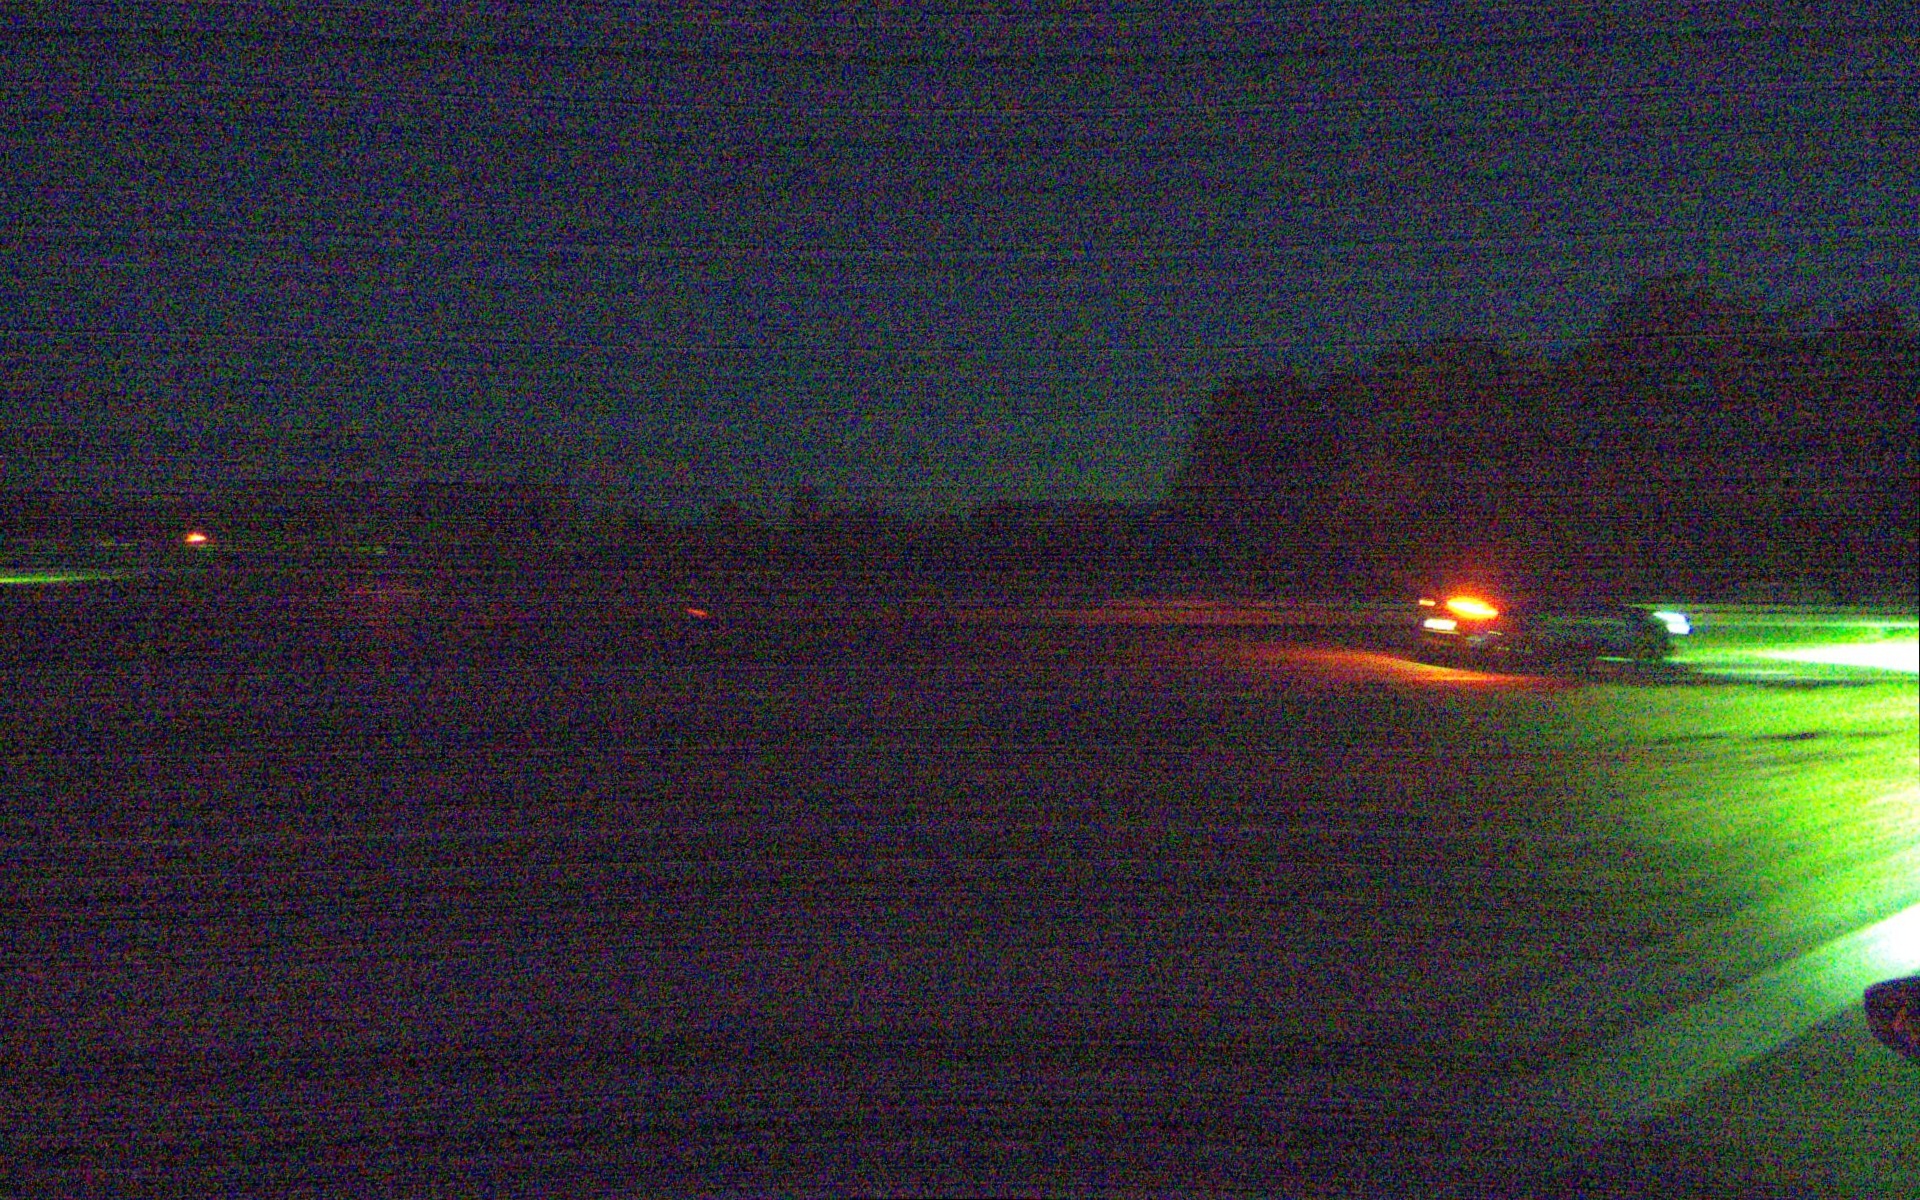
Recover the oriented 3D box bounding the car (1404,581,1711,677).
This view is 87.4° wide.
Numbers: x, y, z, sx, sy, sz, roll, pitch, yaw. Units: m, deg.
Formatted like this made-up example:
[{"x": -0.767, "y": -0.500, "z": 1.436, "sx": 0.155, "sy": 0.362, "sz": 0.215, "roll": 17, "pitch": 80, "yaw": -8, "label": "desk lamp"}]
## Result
[{"x": 10.819, "y": 0.500, "z": 18.374, "sx": 4.556, "sy": 1.630, "sz": 1.944, "roll": 0, "pitch": 1, "yaw": -7, "label": "car"}]
